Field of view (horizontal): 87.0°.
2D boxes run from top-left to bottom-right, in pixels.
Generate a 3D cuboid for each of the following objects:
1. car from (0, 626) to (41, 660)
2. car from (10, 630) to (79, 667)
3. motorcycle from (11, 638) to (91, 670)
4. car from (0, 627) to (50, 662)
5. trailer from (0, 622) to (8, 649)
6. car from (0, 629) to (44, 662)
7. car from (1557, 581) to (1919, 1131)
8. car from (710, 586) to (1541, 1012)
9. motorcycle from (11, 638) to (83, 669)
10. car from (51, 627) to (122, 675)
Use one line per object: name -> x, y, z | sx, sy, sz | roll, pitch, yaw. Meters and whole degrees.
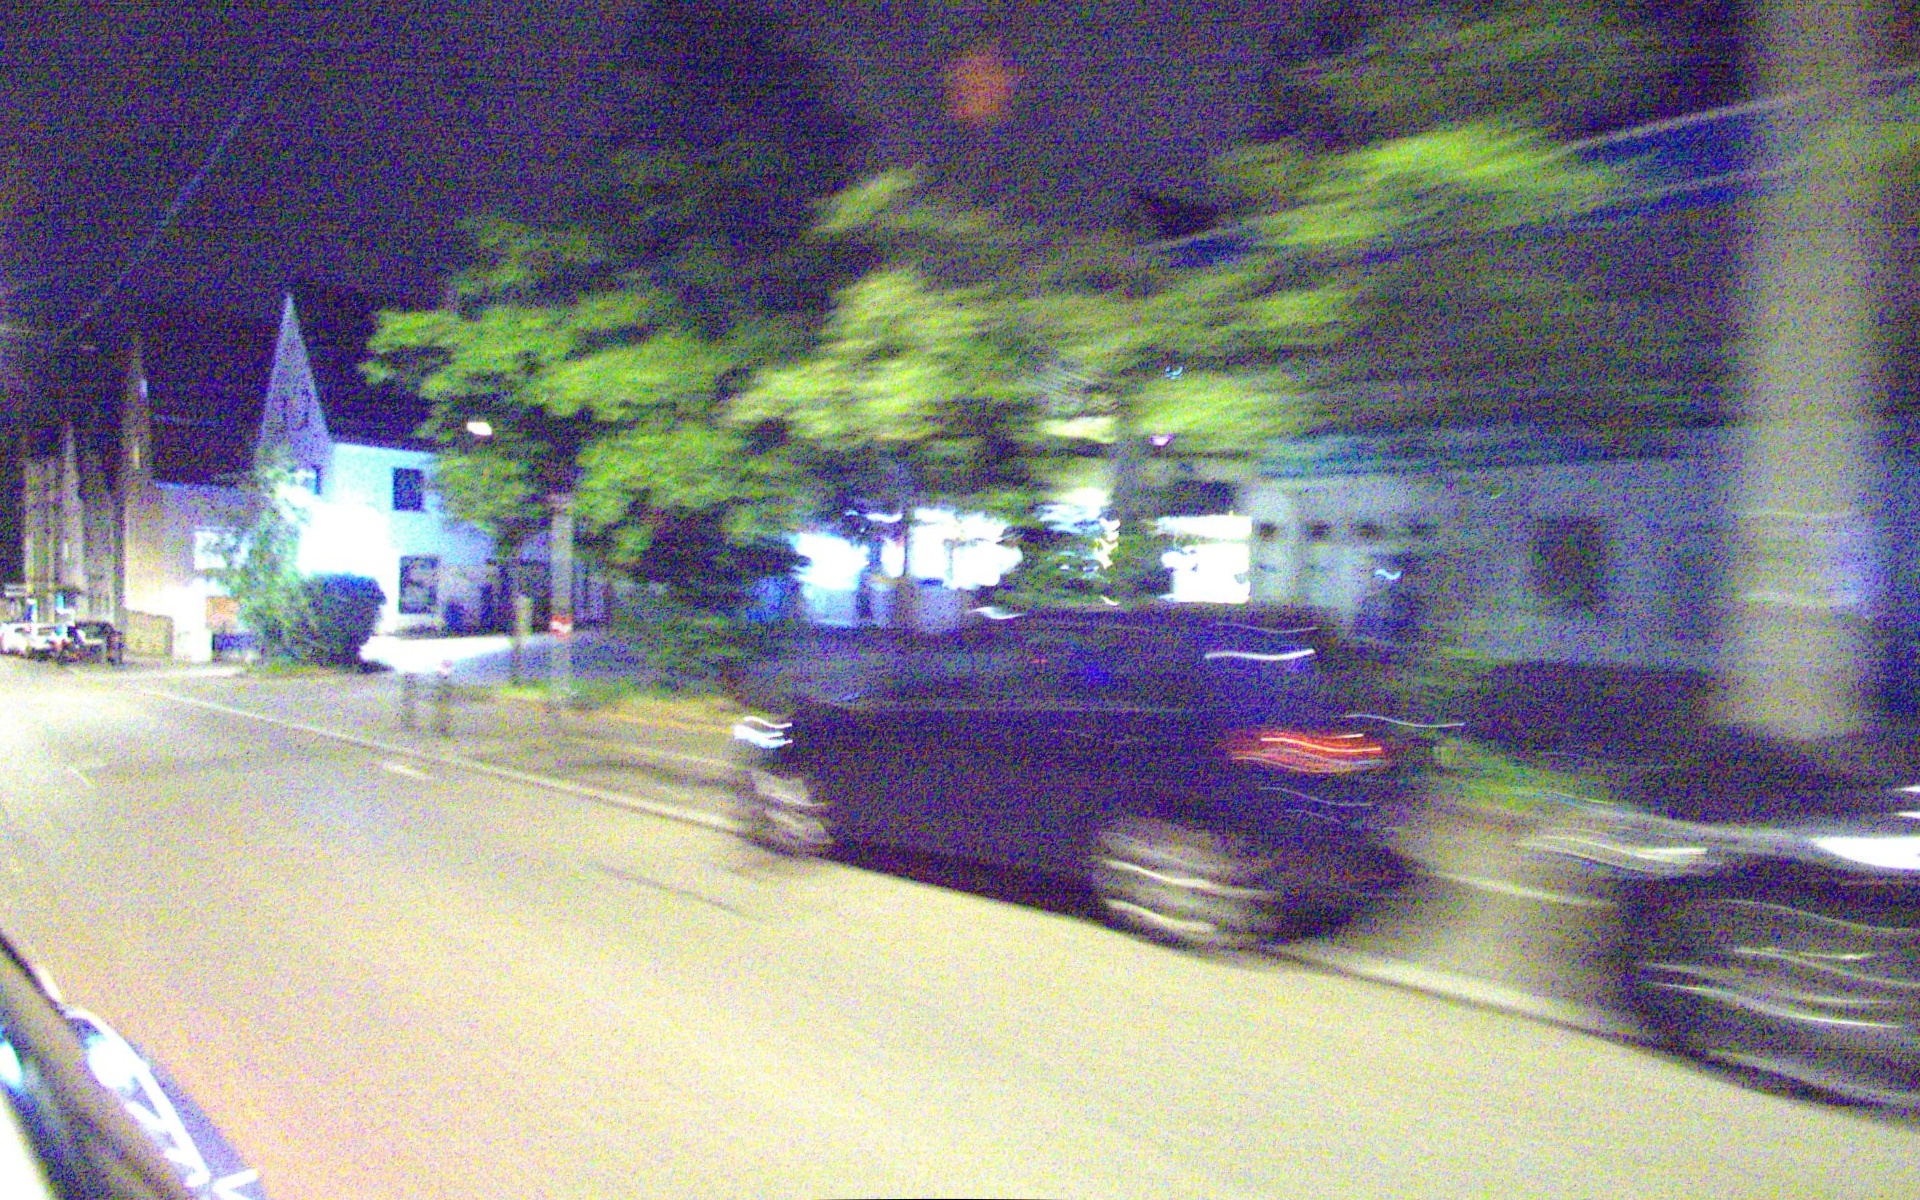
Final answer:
car -> -53.260, 2.407, 57.057 | 4.002, 1.763, 1.971 | 0, 0, 45
car -> -38.524, 2.015, 42.559 | 4.226, 1.503, 1.686 | -2, -3, 42
motorcycle -> -34.418, 2.041, 38.345 | 2.172, 1.139, 0.718 | 0, -2, -14
car -> -44.391, 2.055, 47.875 | 3.780, 1.503, 1.604 | 0, 0, 42
trailer -> -62.089, 2.290, 64.789 | 1.618, 1.652, 3.443 | -1, 0, -43
car -> -47.787, 2.249, 51.098 | 4.279, 1.503, 1.844 | 0, 0, 42
car -> 4.276, 0.614, 2.265 | 4.808, 1.448, 1.703 | -3, -1, 41
car -> 0.586, 0.719, 5.505 | 4.189, 1.448, 1.703 | -2, 0, 42
motorcycle -> -35.861, 2.098, 39.757 | 2.178, 1.156, 0.715 | 0, -2, 1
car -> -30.072, 1.713, 34.826 | 2.766, 1.509, 1.620 | 0, -1, 44
